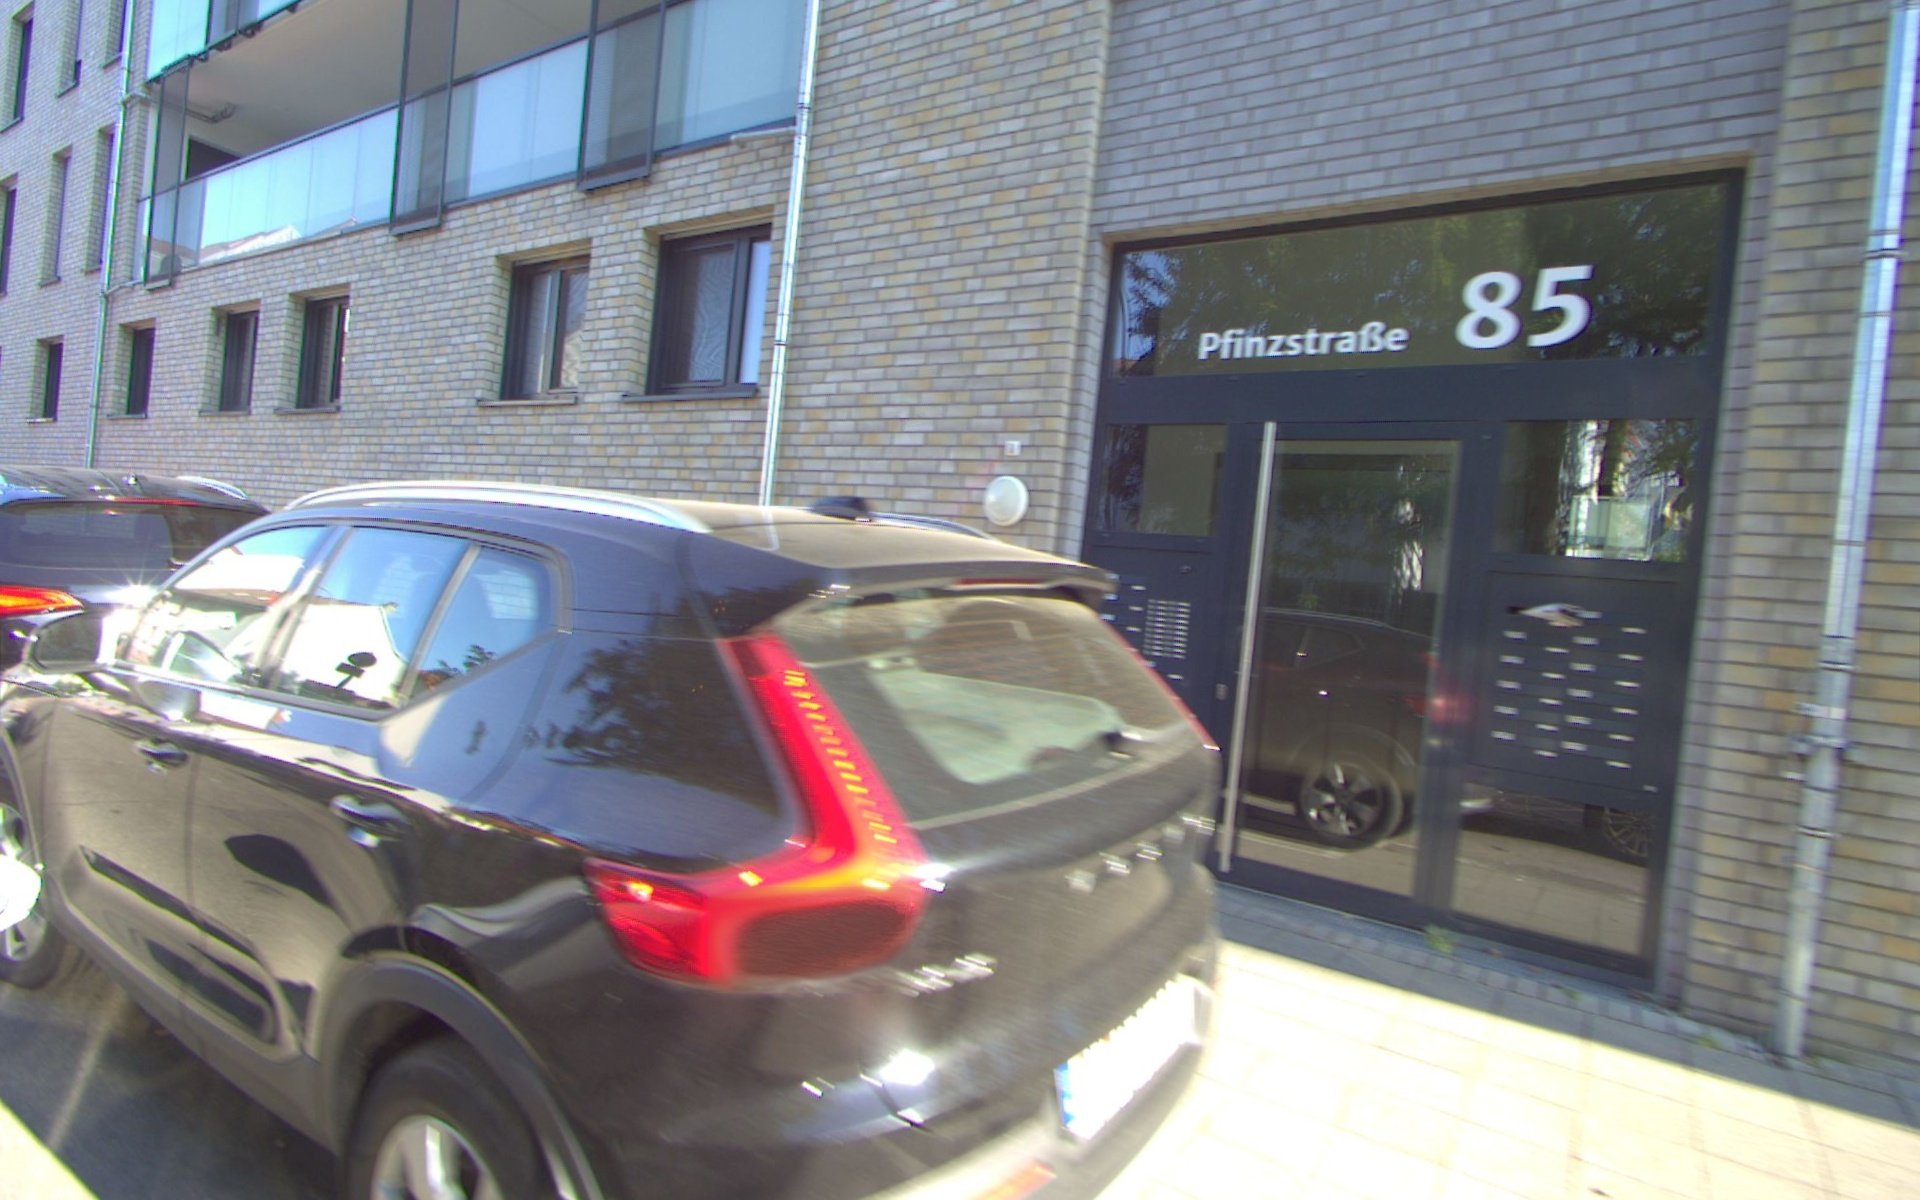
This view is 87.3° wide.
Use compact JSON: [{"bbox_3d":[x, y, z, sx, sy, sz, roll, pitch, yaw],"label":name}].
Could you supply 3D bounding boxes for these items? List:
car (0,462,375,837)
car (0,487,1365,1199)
[{"bbox_3d":[-5.895,0.046,6.557,4.701,1.734,1.888,7,1,38],"label":"car"},{"bbox_3d":[-1.309,0.580,2.849,4.199,1.485,1.817,6,1,32],"label":"car"}]
